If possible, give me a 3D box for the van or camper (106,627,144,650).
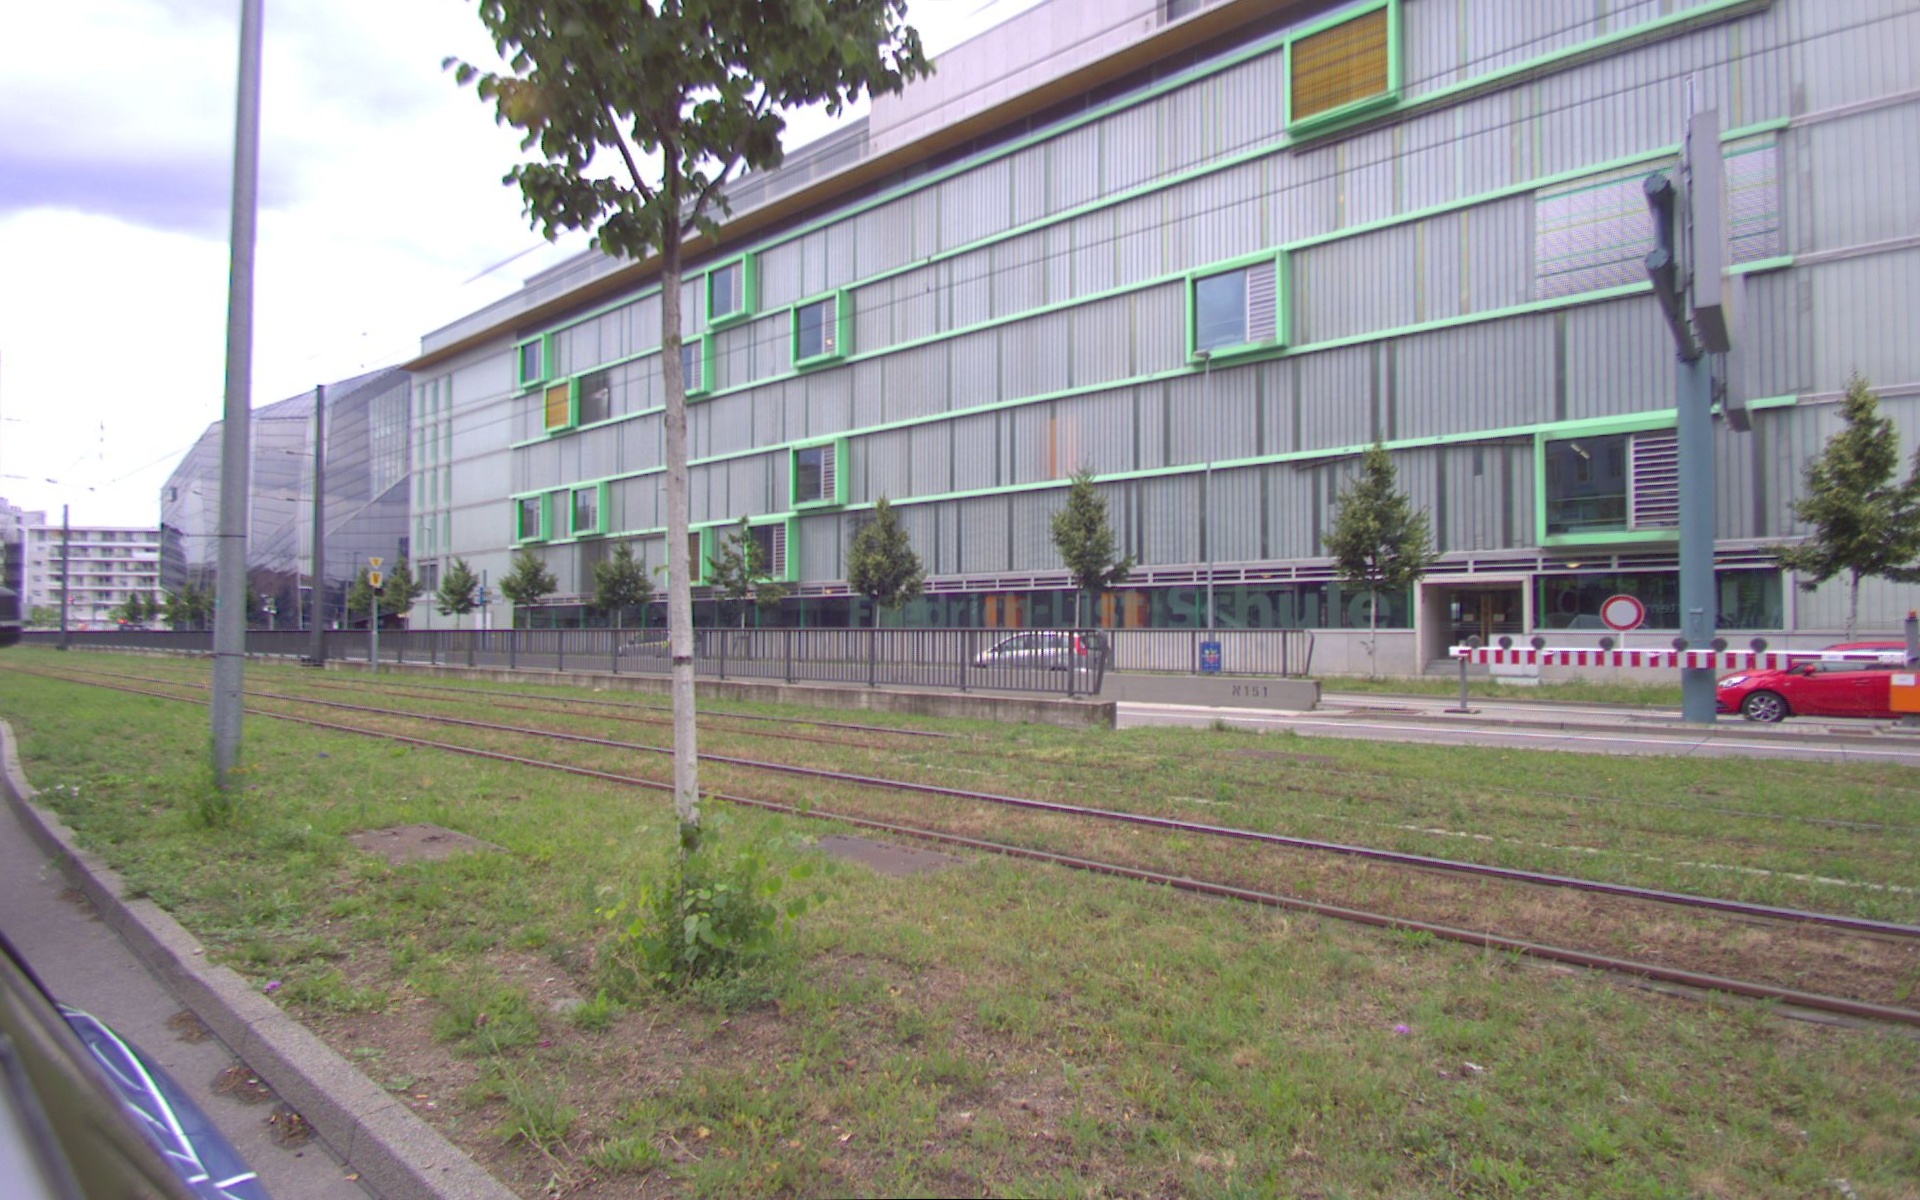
[{"bbox_3d":[-86.738,3.960,105.095,5.356,2.304,2.150,-2,-3,41],"label":"van or camper"}]

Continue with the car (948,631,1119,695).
[{"bbox_3d":[1.990,1.697,28.384,4.670,1.656,1.704,-2,-2,39],"label":"car"}]

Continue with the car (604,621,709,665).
[{"bbox_3d":[-12.254,1.682,40.734,4.574,1.582,1.779,0,1,39],"label":"car"}]

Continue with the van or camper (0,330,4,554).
[{"bbox_3d":[-6.207,0.315,4.704,5.037,2.607,2.017,-2,-2,40],"label":"van or camper"}]

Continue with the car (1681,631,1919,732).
[{"bbox_3d":[15.091,1.333,17.288,4.327,1.583,1.777,-2,-2,42],"label":"car"}]

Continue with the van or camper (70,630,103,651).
[{"bbox_3d":[-101.433,4.699,117.478,6.503,2.304,2.150,-2,-2,42],"label":"van or camper"}]
